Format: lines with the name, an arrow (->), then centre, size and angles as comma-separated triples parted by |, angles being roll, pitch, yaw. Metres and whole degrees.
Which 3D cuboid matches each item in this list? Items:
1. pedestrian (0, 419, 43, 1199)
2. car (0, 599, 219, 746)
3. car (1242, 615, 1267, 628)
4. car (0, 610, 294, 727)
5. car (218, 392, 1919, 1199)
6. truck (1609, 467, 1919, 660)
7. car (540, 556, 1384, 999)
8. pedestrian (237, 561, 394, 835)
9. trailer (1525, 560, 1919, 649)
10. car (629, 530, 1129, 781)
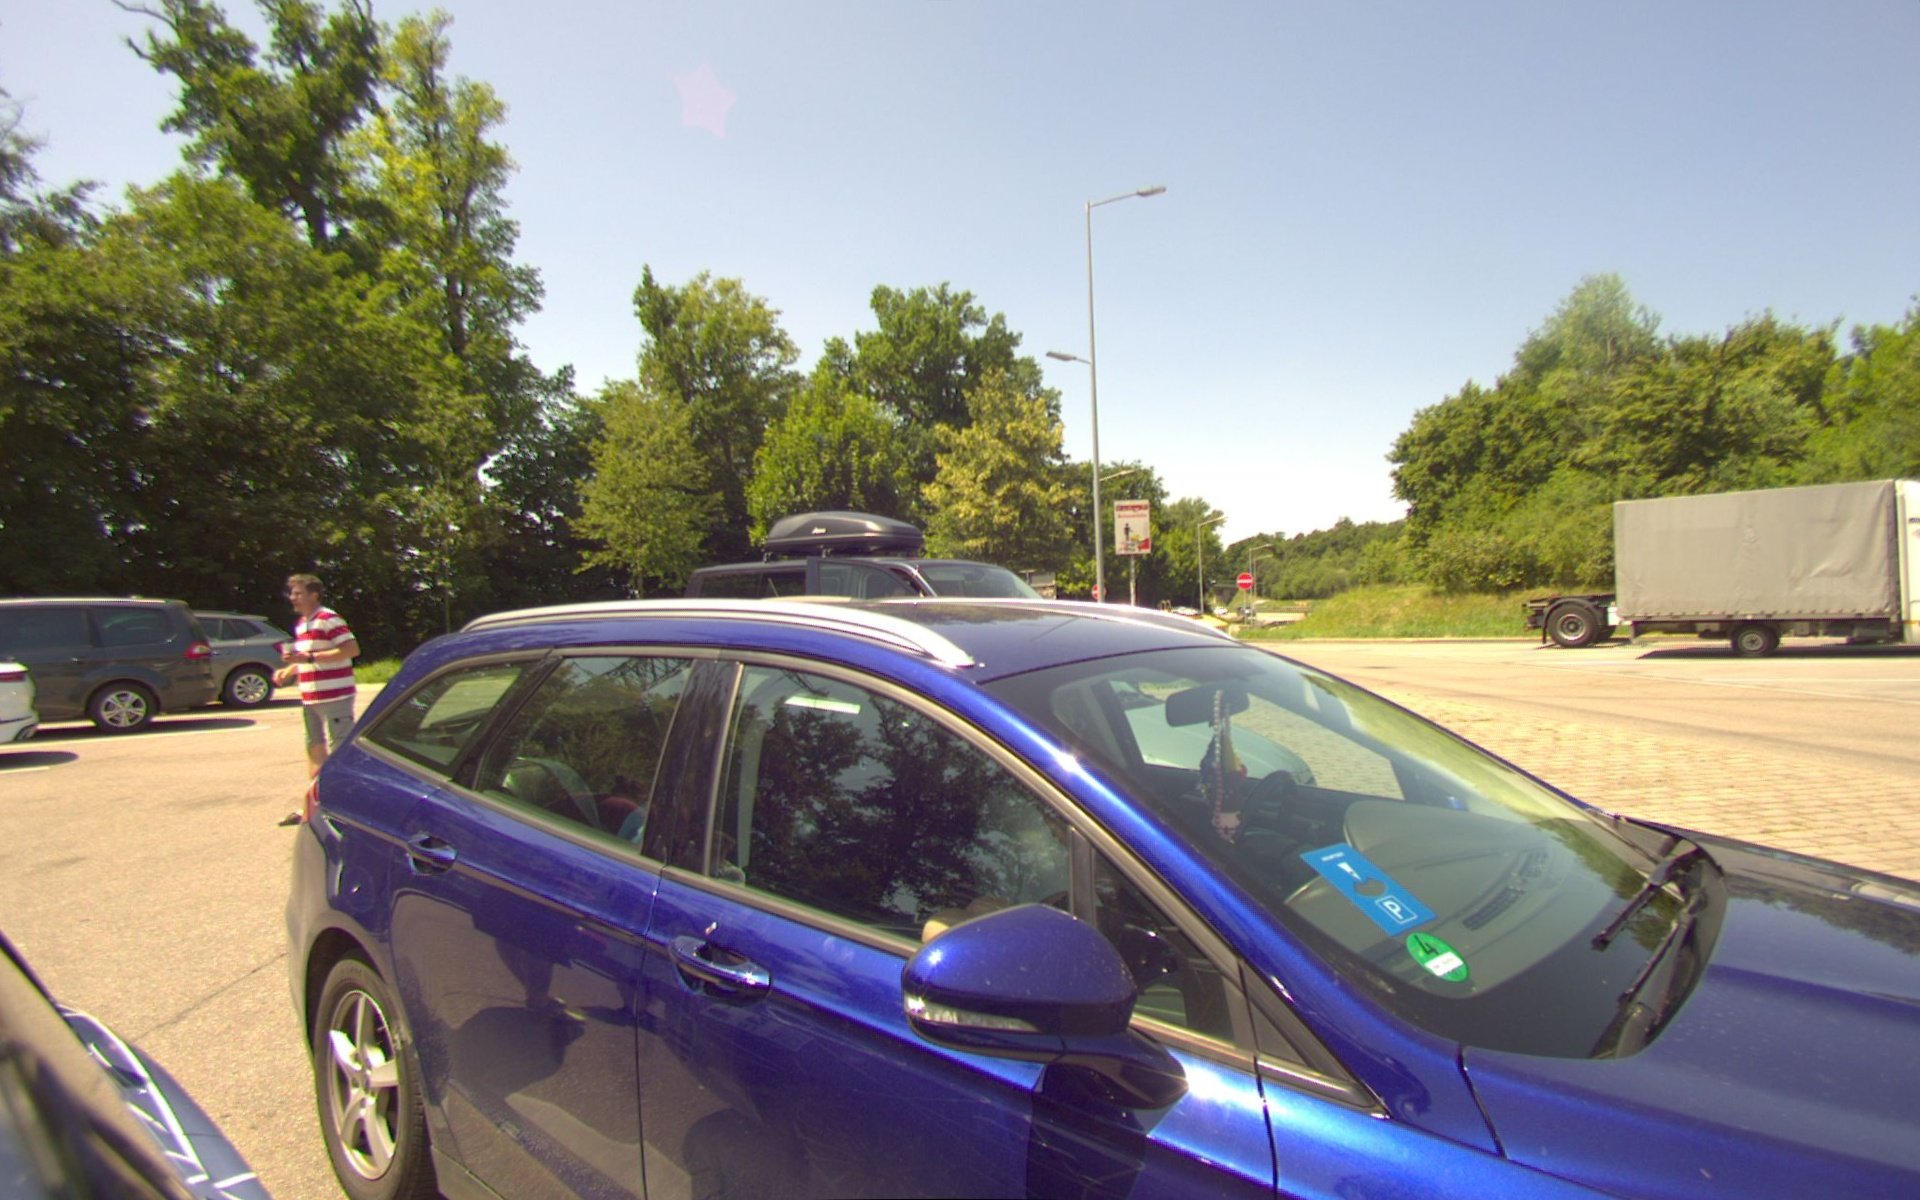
pedestrian -> -2.723, 0.521, 2.233 | 0.905, 1.919, 0.816 | -1, 0, -33
car -> -11.628, 0.868, 12.646 | 3.767, 1.708, 1.654 | -1, 0, -38
car -> 48.503, 3.579, 166.809 | 1.966, 2.029, 4.012 | -1, 0, -16
car -> -12.620, 0.972, 15.653 | 3.767, 1.572, 1.654 | -1, 0, -38
car -> 0.238, 0.635, 2.064 | 4.569, 1.482, 1.735 | -3, 0, 40
truck -> 16.784, -0.648, 19.004 | 7.274, 3.269, 2.678 | -4, -1, 42
car -> -0.318, 0.670, 5.601 | 4.569, 1.517, 1.735 | -3, 0, 40
pedestrian -> -4.506, 0.629, 7.074 | 0.774, 1.767, 0.756 | -1, 0, -45
trailer -> 17.708, 0.157, 23.101 | 8.098, 1.638, 2.187 | -4, -1, 41
car -> -0.889, 0.499, 9.649 | 4.558, 1.912, 1.740 | -3, 0, 32
